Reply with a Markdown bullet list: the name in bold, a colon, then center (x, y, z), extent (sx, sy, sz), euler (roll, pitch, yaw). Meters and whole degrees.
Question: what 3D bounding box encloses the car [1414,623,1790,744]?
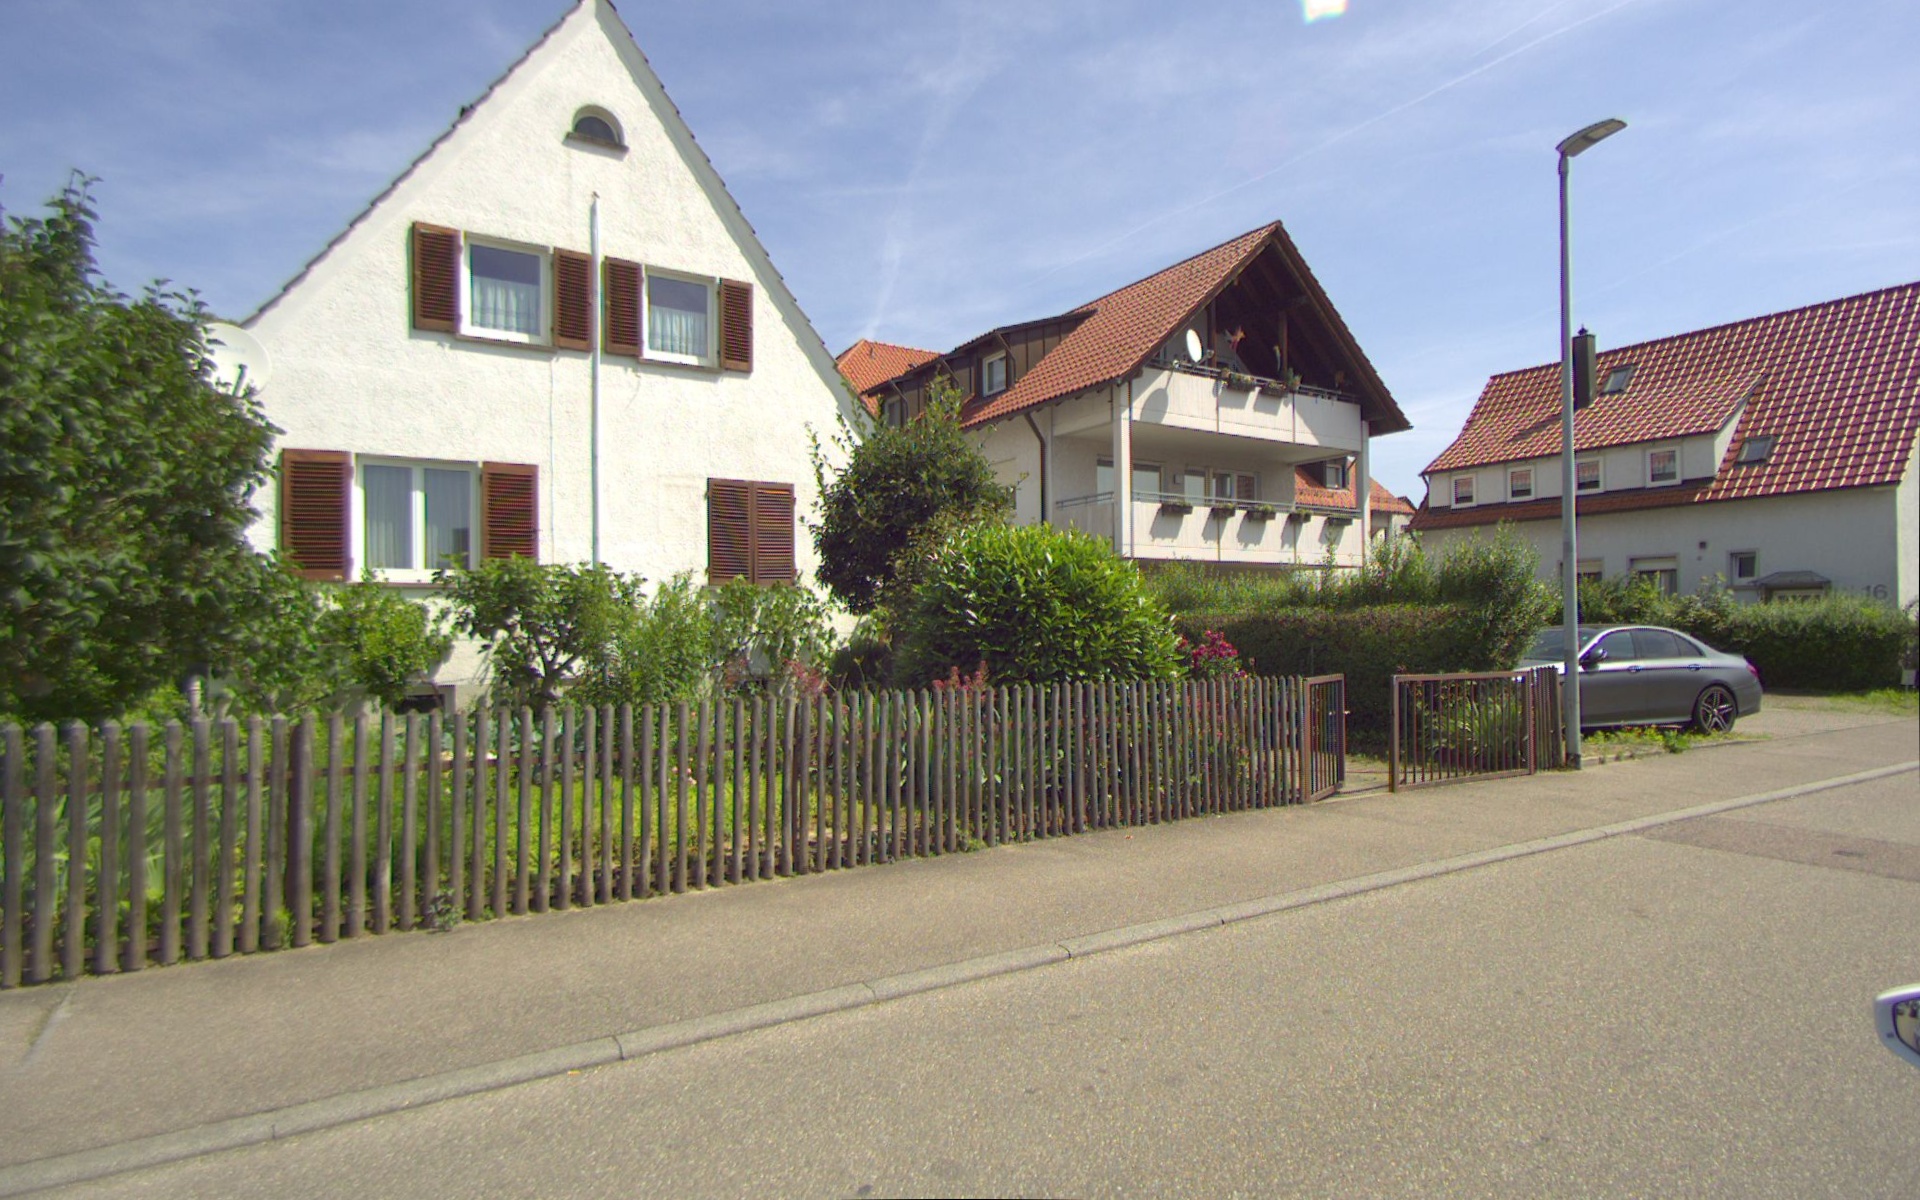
- **car**: center (8.672, 1.053, 13.638), extent (4.488, 1.451, 1.827), euler (1, -1, -17)
